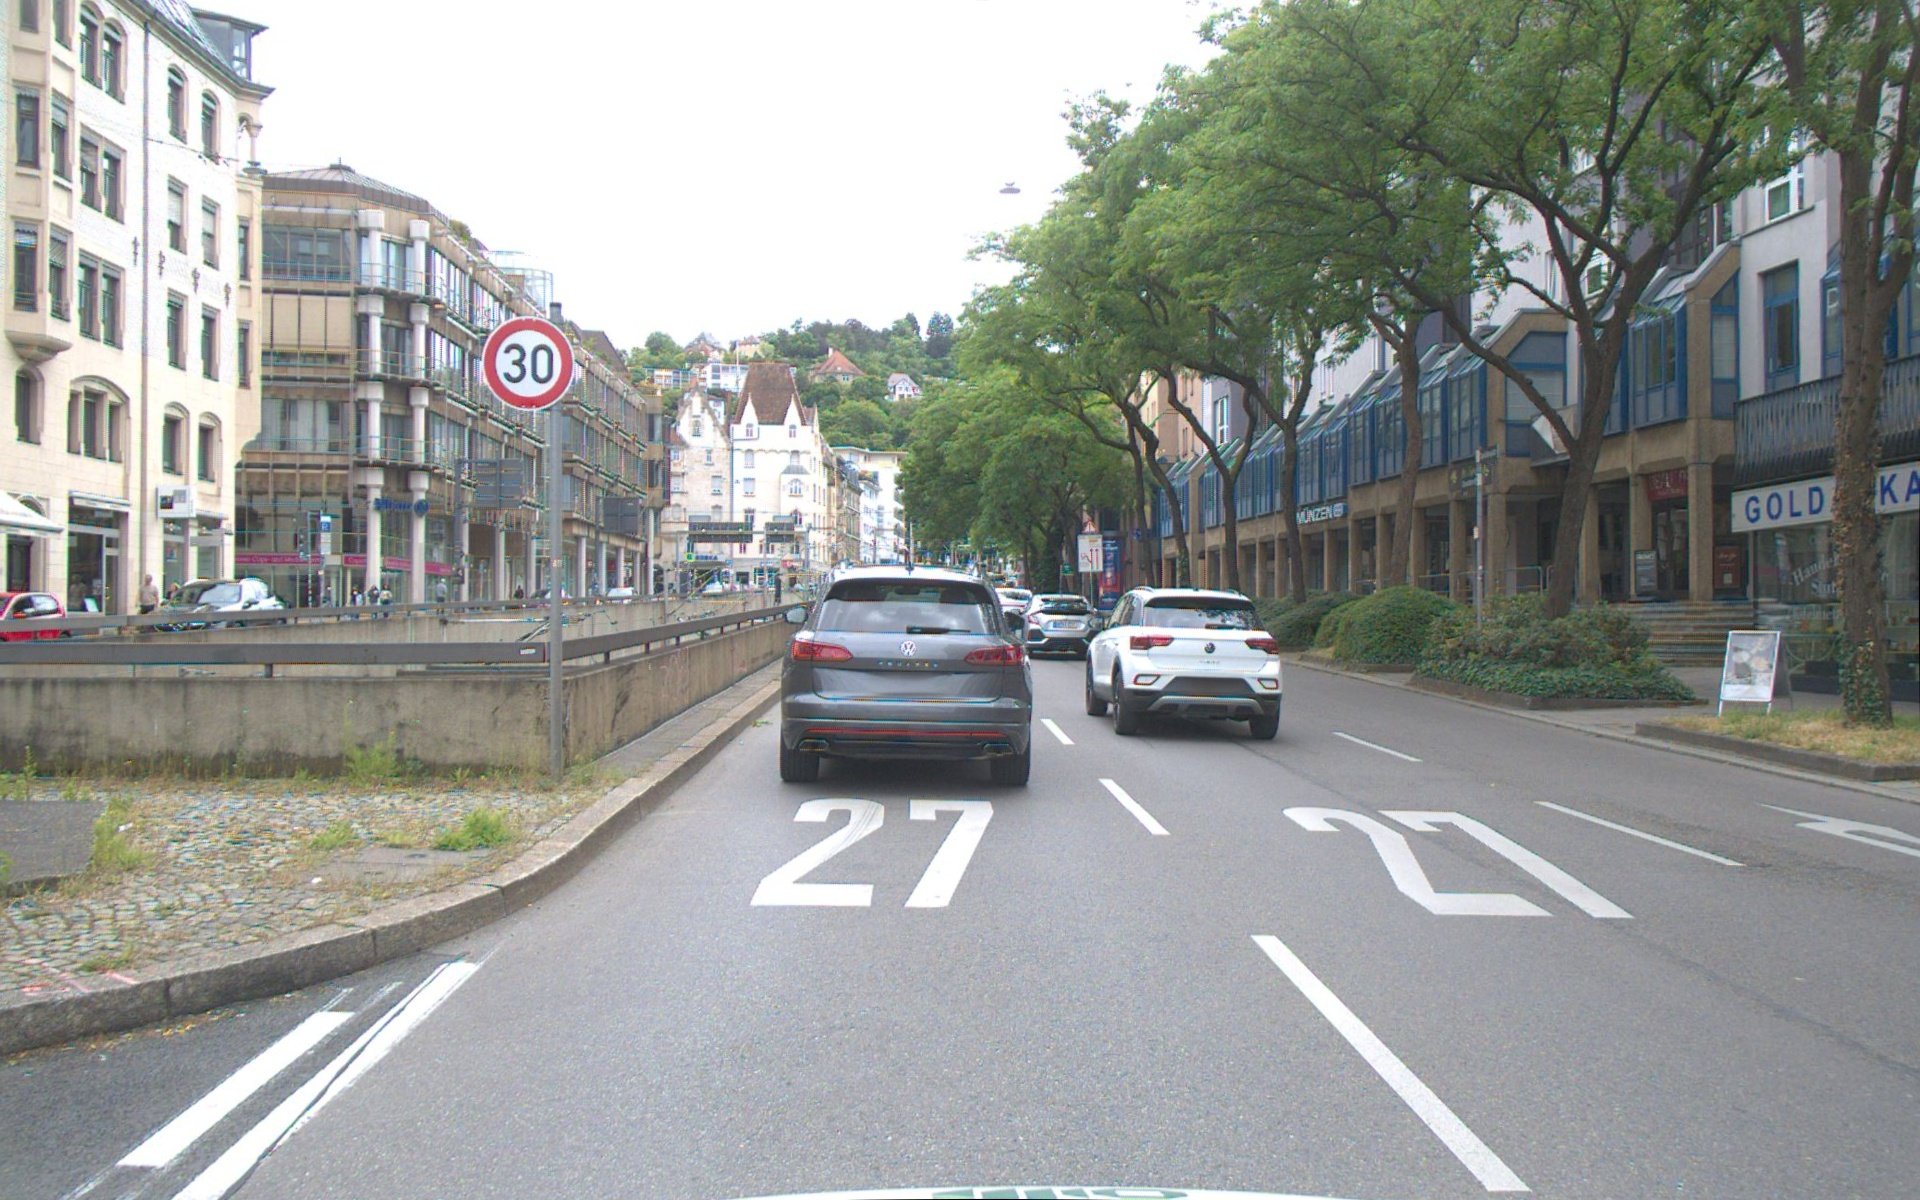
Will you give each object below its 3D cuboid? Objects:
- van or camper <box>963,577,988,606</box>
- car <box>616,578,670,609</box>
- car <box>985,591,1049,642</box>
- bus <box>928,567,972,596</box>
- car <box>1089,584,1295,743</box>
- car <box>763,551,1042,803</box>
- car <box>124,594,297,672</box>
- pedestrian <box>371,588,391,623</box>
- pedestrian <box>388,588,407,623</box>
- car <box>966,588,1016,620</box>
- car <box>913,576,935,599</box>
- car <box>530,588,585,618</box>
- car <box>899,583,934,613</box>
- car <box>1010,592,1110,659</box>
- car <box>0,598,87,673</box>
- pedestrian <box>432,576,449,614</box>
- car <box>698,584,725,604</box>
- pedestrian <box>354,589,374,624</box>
[{"bbox_3d":[1.728,-0.964,185.960,2.575,3.234,5.801,0,1,-2],"label":"van or camper"},{"bbox_3d":[-17.200,-0.379,89.893,1.952,1.613,4.888,0,1,1],"label":"car"},{"bbox_3d":[1.759,0.506,52.471,1.795,1.544,3.766,0,0,-2],"label":"car"},{"bbox_3d":[-1.157,-2.406,214.341,3.768,3.593,17.258,0,1,6],"label":"bus"},{"bbox_3d":[2.524,0.640,18.866,1.761,1.572,3.935,2,0,0],"label":"car"},{"bbox_3d":[-0.502,0.515,13.759,1.931,1.725,4.222,-1,1,-3],"label":"car"},{"bbox_3d":[-16.044,0.655,35.668,1.880,1.553,4.539,0,1,-3],"label":"car"},{"bbox_3d":[-26.440,0.261,75.523,0.687,1.571,0.845,0,0,-9],"label":"pedestrian"},{"bbox_3d":[-25.741,0.252,75.644,0.687,1.571,0.845,0,0,-9],"label":"pedestrian"},{"bbox_3d":[1.377,0.166,74.374,1.796,1.387,3.763,-1,0,-5],"label":"car"},{"bbox_3d":[-3.081,-1.093,142.127,1.794,1.907,4.870,-1,0,0],"label":"car"},{"bbox_3d":[-20.356,0.130,83.841,1.954,1.490,4.881,0,1,-4],"label":"car"},{"bbox_3d":[-2.340,-0.108,90.452,1.794,1.594,3.767,-1,0,0],"label":"car"},{"bbox_3d":[2.247,0.591,38.110,1.797,1.457,4.144,0,-1,-4],"label":"car"},{"bbox_3d":[-19.598,0.694,33.773,1.752,1.430,3.581,0,1,-3],"label":"car"},{"bbox_3d":[-25.422,-0.238,80.950,0.522,1.824,0.694,4,0,-1],"label":"pedestrian"},{"bbox_3d":[-22.855,-0.548,152.103,1.953,1.798,4.279,0,1,-2],"label":"car"},{"bbox_3d":[-27.177,0.275,75.399,0.687,1.571,0.845,0,0,-9],"label":"pedestrian"}]
